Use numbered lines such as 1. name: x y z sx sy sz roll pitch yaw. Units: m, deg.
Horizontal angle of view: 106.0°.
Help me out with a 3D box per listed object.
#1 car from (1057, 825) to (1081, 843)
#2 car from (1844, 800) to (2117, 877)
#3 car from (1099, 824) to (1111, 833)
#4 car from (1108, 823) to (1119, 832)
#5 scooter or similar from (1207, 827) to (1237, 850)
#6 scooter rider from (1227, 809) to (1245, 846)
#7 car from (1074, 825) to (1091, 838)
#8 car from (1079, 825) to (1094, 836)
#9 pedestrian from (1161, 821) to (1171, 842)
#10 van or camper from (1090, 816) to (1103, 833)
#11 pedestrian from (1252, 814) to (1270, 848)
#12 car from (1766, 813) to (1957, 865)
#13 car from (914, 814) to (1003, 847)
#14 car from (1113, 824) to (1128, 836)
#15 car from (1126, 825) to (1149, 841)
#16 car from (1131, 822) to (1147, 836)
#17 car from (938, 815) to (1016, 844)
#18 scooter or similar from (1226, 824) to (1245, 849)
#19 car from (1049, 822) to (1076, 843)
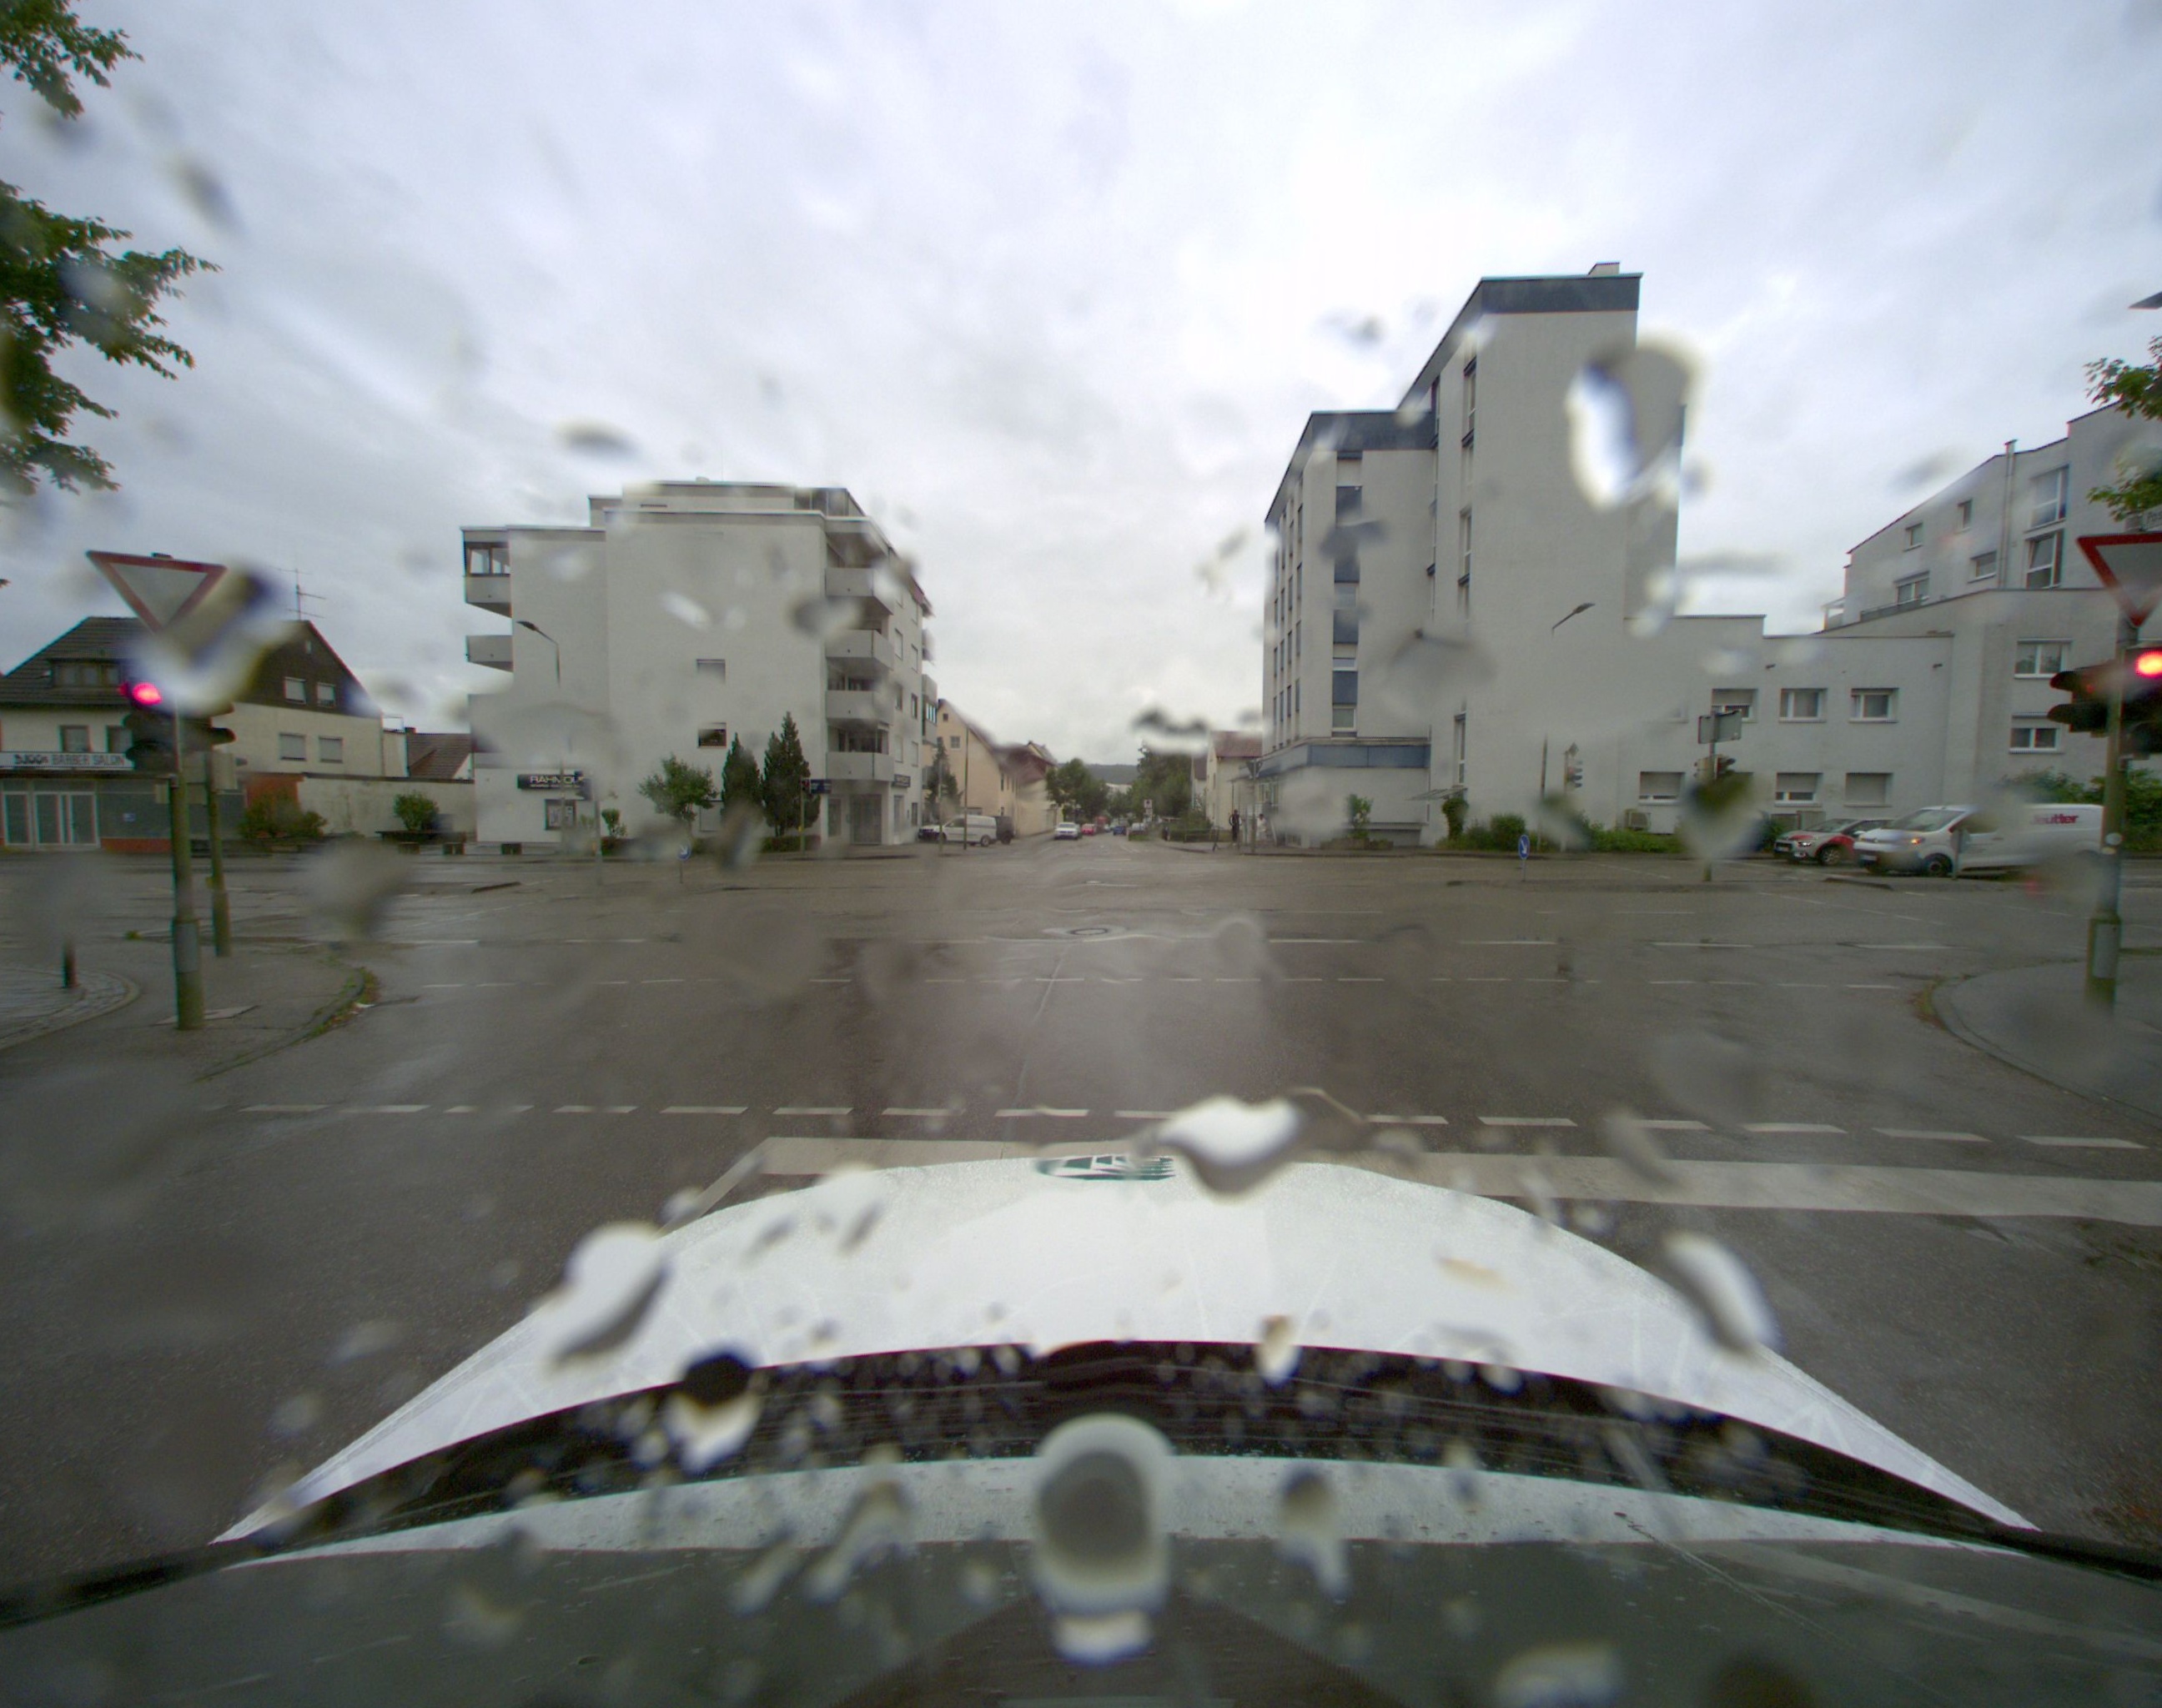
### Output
1. car: -1.143 -1.959 80.090 1.985 1.625 4.195 -1 1 3
2. car: 23.523 -0.384 21.481 4.787 1.916 1.831 0 0 8
3. car: 4.085 -4.372 139.283 1.894 1.558 4.195 -1 1 3
4. car: 6.188 -5.004 155.236 1.894 1.558 4.195 -1 1 3
5. scooter or similar: 6.778 -0.766 39.102 1.265 1.081 0.876 -1 1 -3
6. scooter rider: 7.594 -1.309 40.002 0.749 1.795 0.673 -1 1 2
7. car: 0.219 -2.918 105.127 1.894 1.558 4.195 -1 1 3
8. car: 0.765 -3.280 113.526 1.894 1.558 4.195 -1 1 3
9. pedestrian: 7.738 -2.027 74.170 0.742 1.848 0.527 3 1 4
10. van or camper: 2.444 -4.626 127.186 1.894 2.513 4.242 -1 1 3
11. pedestrian: 8.853 -1.139 40.082 0.646 1.647 0.525 3 1 -4
12. car: 23.846 -0.478 25.030 3.966 1.467 1.835 -1 1 6
13. car: -7.273 -1.422 48.539 4.866 1.835 1.978 -2 2 -36
14. car: 5.687 -3.556 118.263 1.987 1.683 4.001 -1 2 0
15. car: 5.666 -2.132 82.189 2.137 1.589 4.131 -1 1 3
16. car: 7.384 -3.155 104.209 1.894 1.745 4.195 -1 1 3
17. car: -7.062 -1.678 55.440 4.866 1.835 1.978 -2 2 -36
18. scooter or similar: 7.595 -0.857 40.072 0.753 1.171 1.316 -1 1 4
19. car: -1.525 -1.805 68.687 1.985 1.625 4.195 -1 1 3
